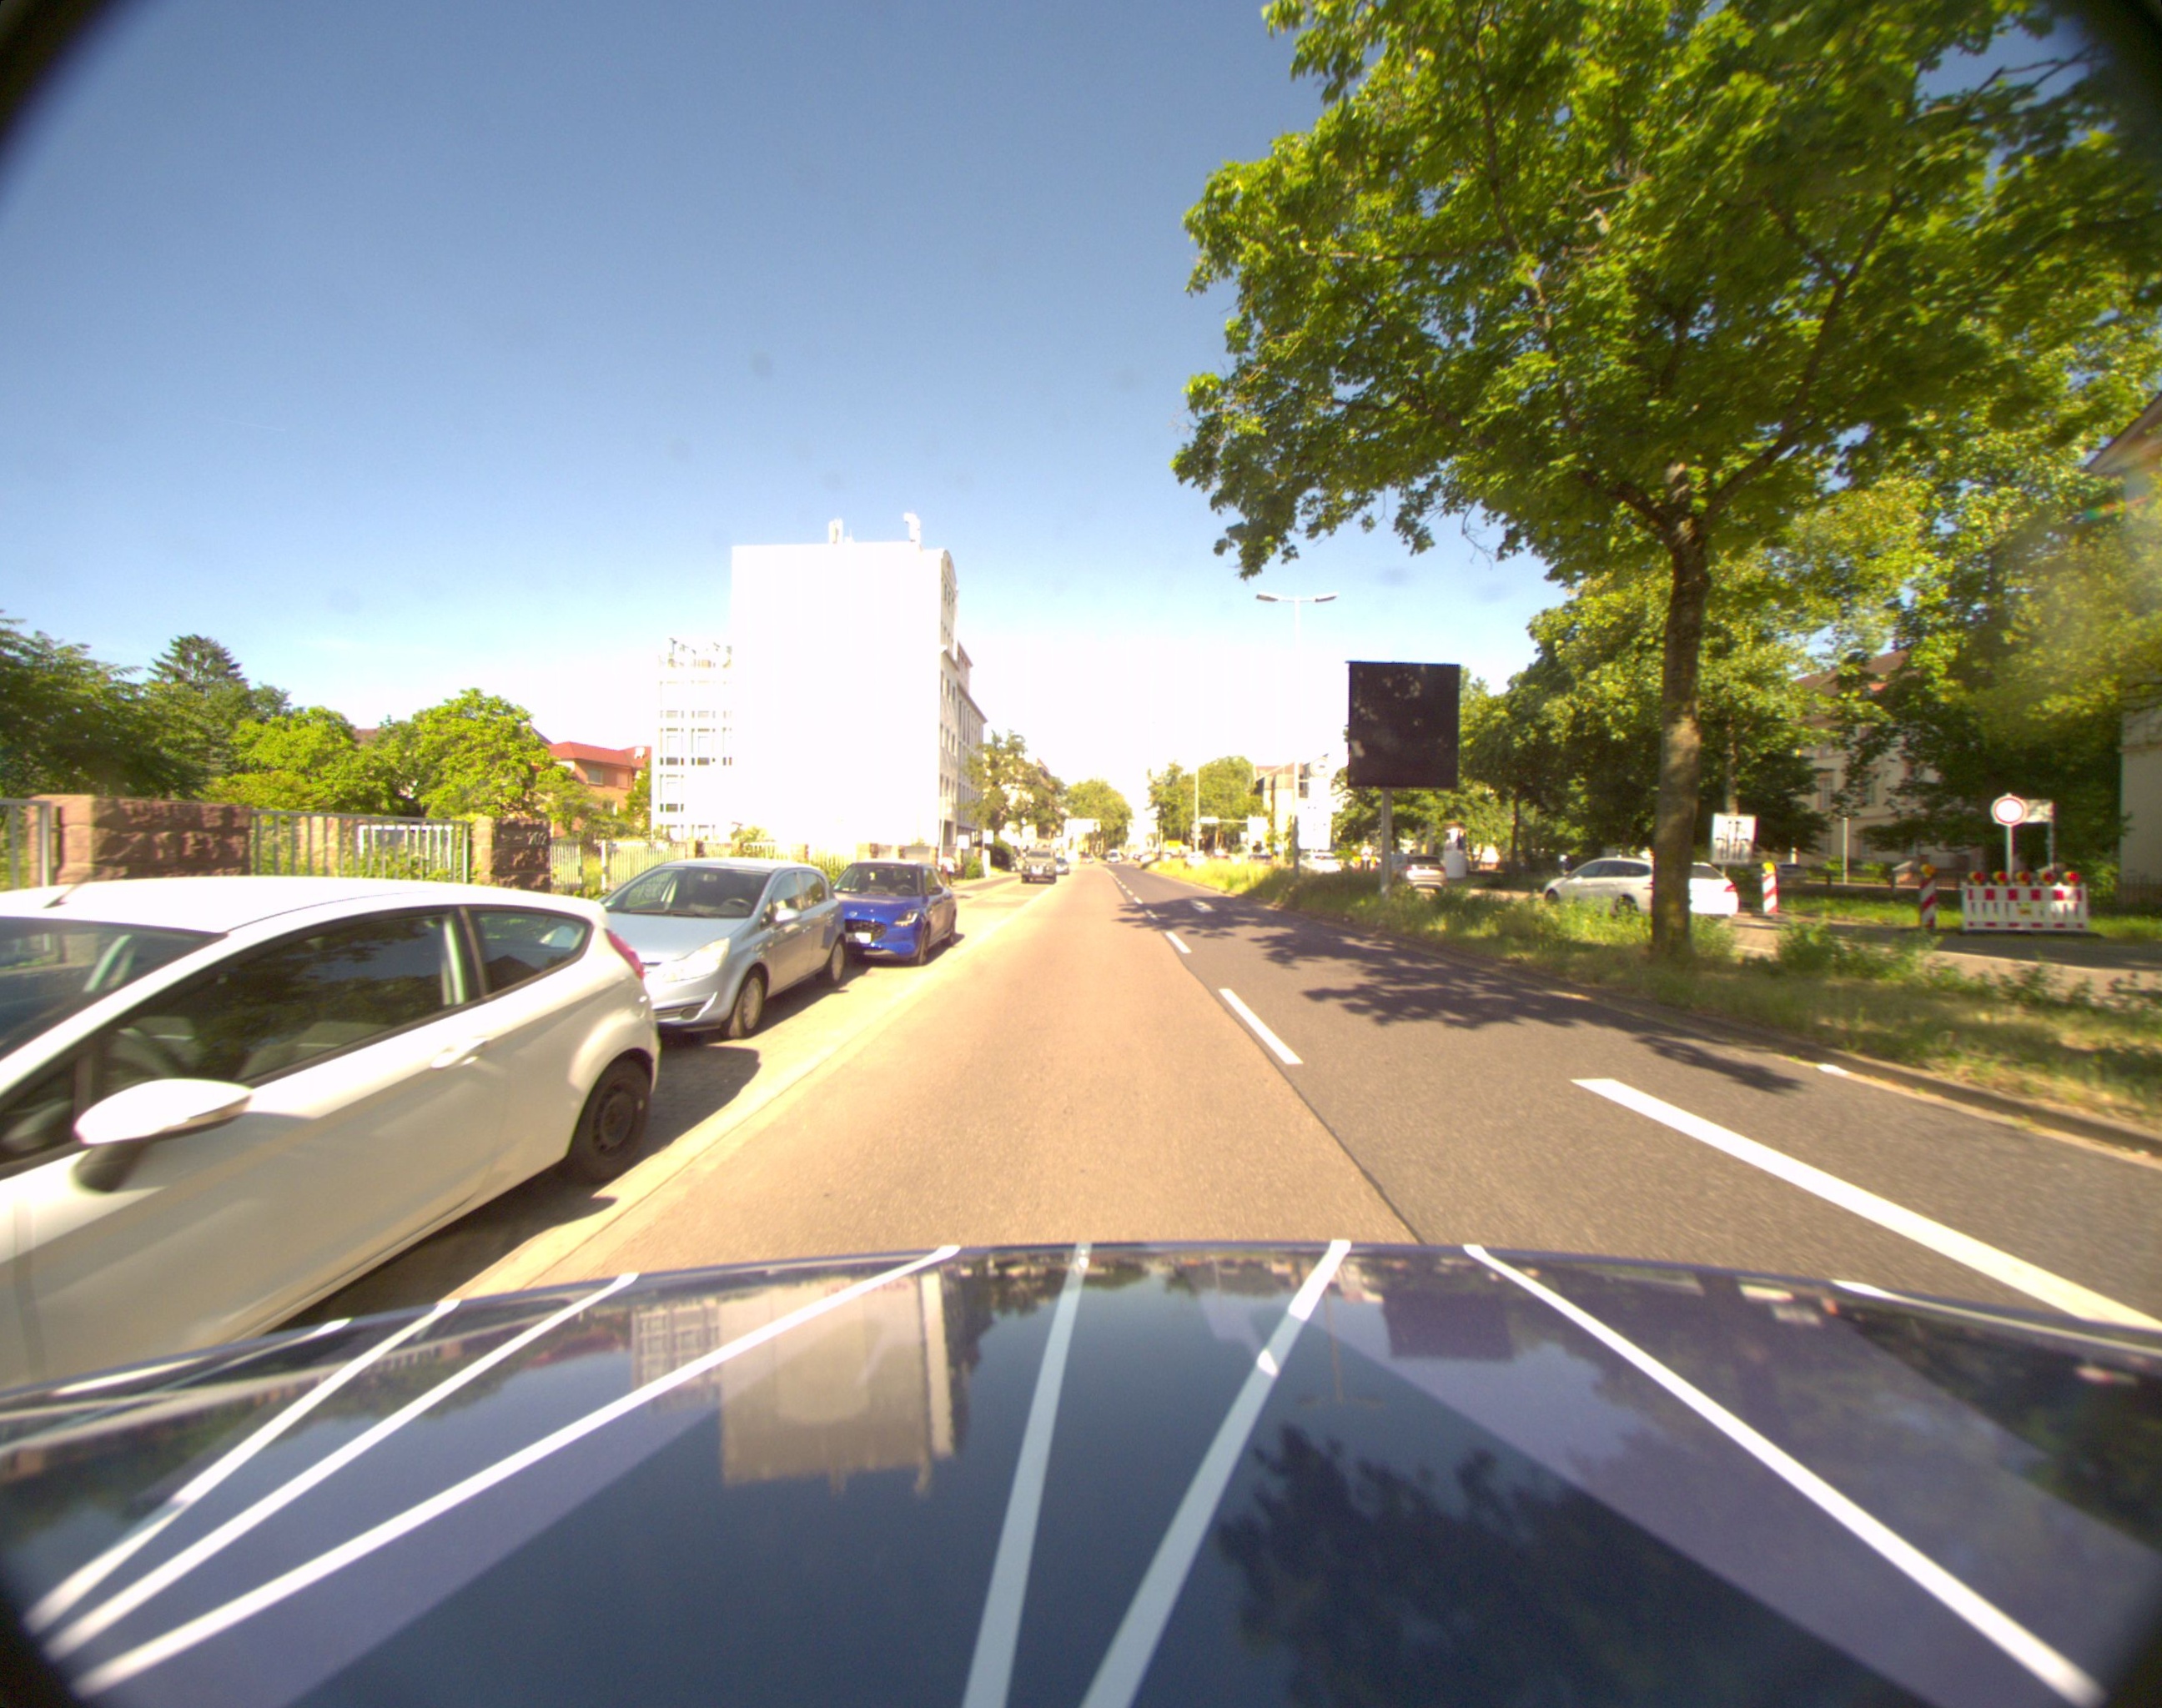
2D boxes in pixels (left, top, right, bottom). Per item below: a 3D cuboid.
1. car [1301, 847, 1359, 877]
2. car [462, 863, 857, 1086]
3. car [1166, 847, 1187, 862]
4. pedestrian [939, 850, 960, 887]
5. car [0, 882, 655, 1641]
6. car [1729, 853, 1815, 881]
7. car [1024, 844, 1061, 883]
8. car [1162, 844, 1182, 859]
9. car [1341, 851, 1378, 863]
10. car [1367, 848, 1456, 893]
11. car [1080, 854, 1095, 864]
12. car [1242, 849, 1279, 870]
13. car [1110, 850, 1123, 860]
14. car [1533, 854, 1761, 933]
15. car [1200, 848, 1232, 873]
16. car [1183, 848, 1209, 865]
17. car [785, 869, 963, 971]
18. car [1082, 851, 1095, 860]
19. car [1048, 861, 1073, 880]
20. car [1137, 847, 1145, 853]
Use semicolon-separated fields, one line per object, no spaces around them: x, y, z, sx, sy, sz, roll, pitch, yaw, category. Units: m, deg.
13.471;0.394;41.296;1.800;1.510;4.258;0;1;0;car
-3.591;0.889;7.411;1.672;1.451;3.985;3;0;-2;car
10.535;-0.006;83.696;1.800;1.510;4.346;-1;1;1;car
-5.847;0.631;33.770;0.745;1.574;0.897;1;1;1;pedestrian
-3.063;0.913;2.105;1.612;1.437;3.658;3;0;0;car
46.929;0.841;51.772;1.646;1.484;4.682;-1;4;1;car
-2.115;0.448;42.429;1.664;2.002;4.776;1;1;1;car
12.871;-0.399;107.895;2.239;2.016;5.017;0;1;1;car
39.700;0.424;108.307;4.704;1.609;1.919;0;4;10;car
13.127;0.593;30.478;1.800;1.510;4.257;-1;2;2;car
1.141;0.863;130.655;1.882;1.510;4.002;-1;1;8;car
13.682;0.381;58.173;1.800;1.510;4.444;0;1;0;car
6.293;0.133;132.953;1.882;1.511;4.000;-1;3;8;car
12.491;0.777;17.238;1.843;1.510;4.666;0;0;3;car
10.103;0.440;57.057;1.757;1.609;4.321;-1;3;1;car
10.503;0.179;69.826;1.800;1.510;4.205;0;1;0;car
-3.026;0.907;11.948;1.672;1.176;3.900;3;0;0;car
1.342;0.242;139.409;1.882;1.511;4.000;-1;3;8;car
-1.651;1.358;62.748;1.641;1.439;4.158;0;-1;4;car
15.752;-1.045;200.042;1.861;1.576;4.278;0;1;3;car
